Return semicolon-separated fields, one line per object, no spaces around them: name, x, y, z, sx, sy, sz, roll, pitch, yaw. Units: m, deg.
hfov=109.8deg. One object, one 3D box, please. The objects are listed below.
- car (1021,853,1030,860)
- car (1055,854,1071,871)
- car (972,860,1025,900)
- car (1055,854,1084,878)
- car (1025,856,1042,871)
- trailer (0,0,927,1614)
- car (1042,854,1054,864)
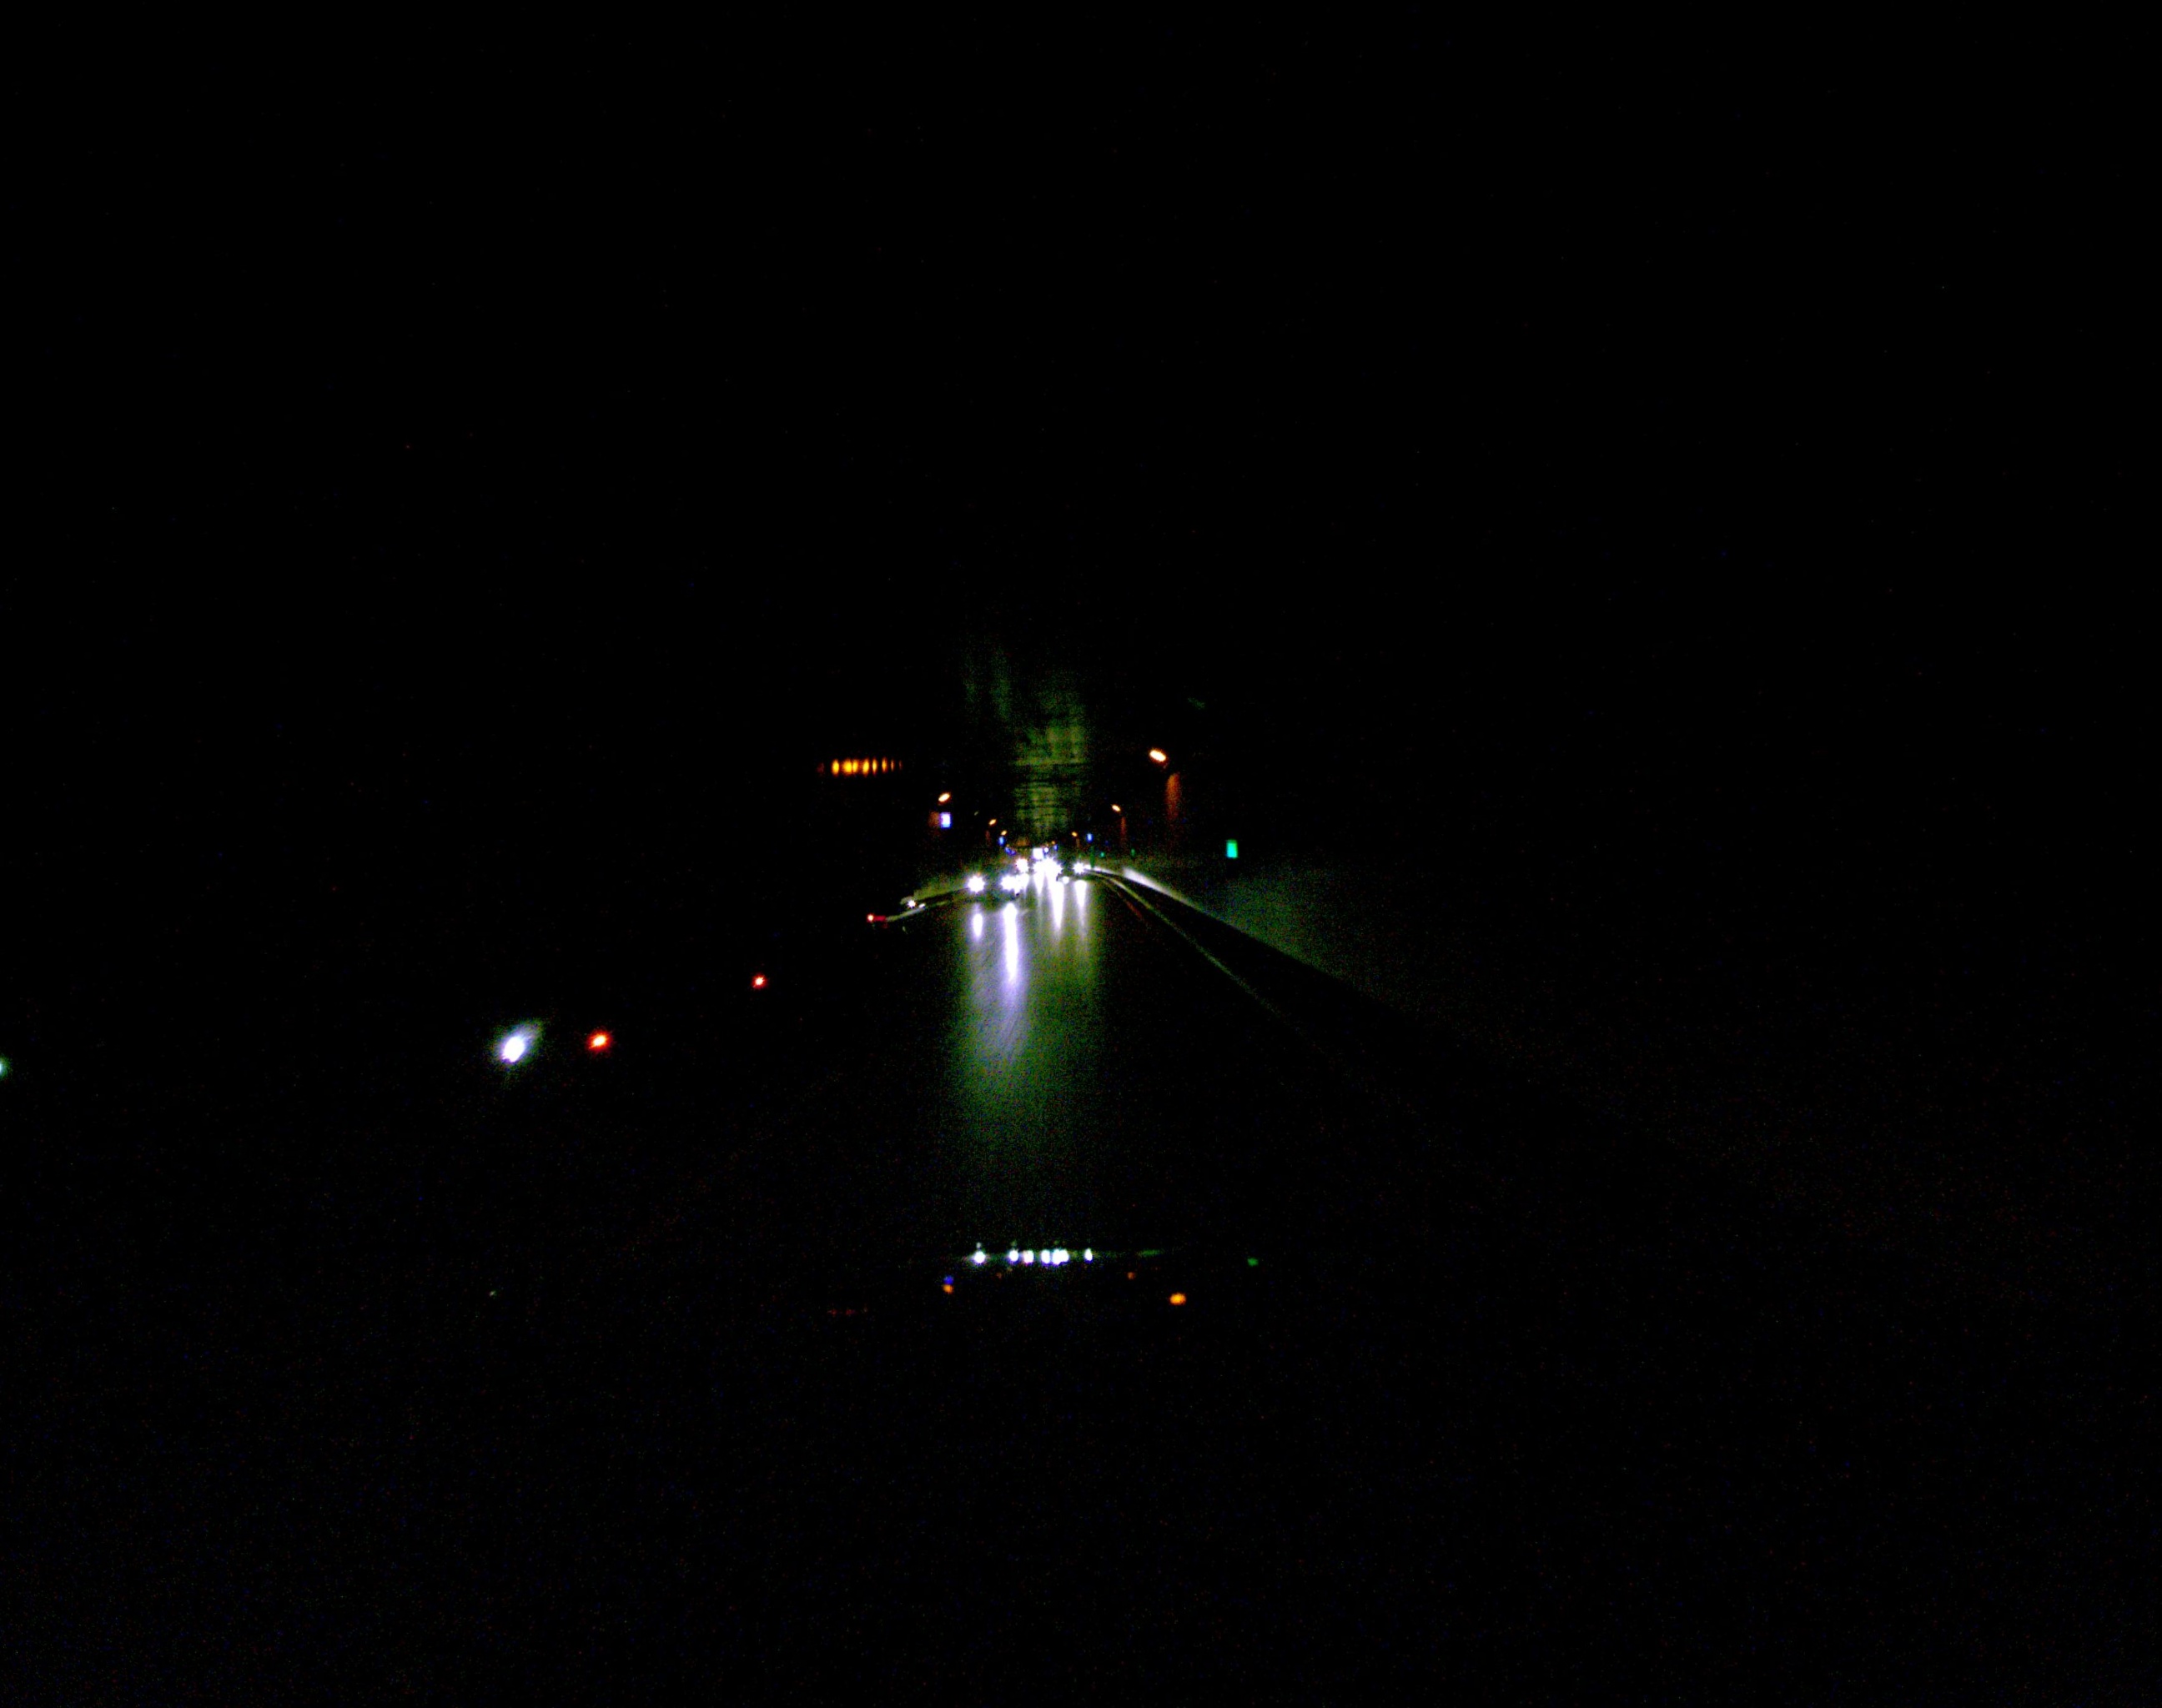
car;-13.776;0.660;187.586;1.999;1.674;3.999;-2;1;-1
car;-2.105;0.960;88.652;1.715;1.729;3.998;-2;2;-3
car;-3.308;1.018;31.084;1.735;1.395;3.798;-3;1;0
car;-0.800;0.828;52.416;1.820;1.589;3.998;0;0;-3
car;-5.341;1.019;85.783;1.736;1.565;3.999;-3;0;-3
trailer;-3.688;-0.187;6.142;2.882;3.836;8.948;-2;0;0
car;-5.467;0.792;125.474;1.999;1.576;4.649;-2;1;-3
